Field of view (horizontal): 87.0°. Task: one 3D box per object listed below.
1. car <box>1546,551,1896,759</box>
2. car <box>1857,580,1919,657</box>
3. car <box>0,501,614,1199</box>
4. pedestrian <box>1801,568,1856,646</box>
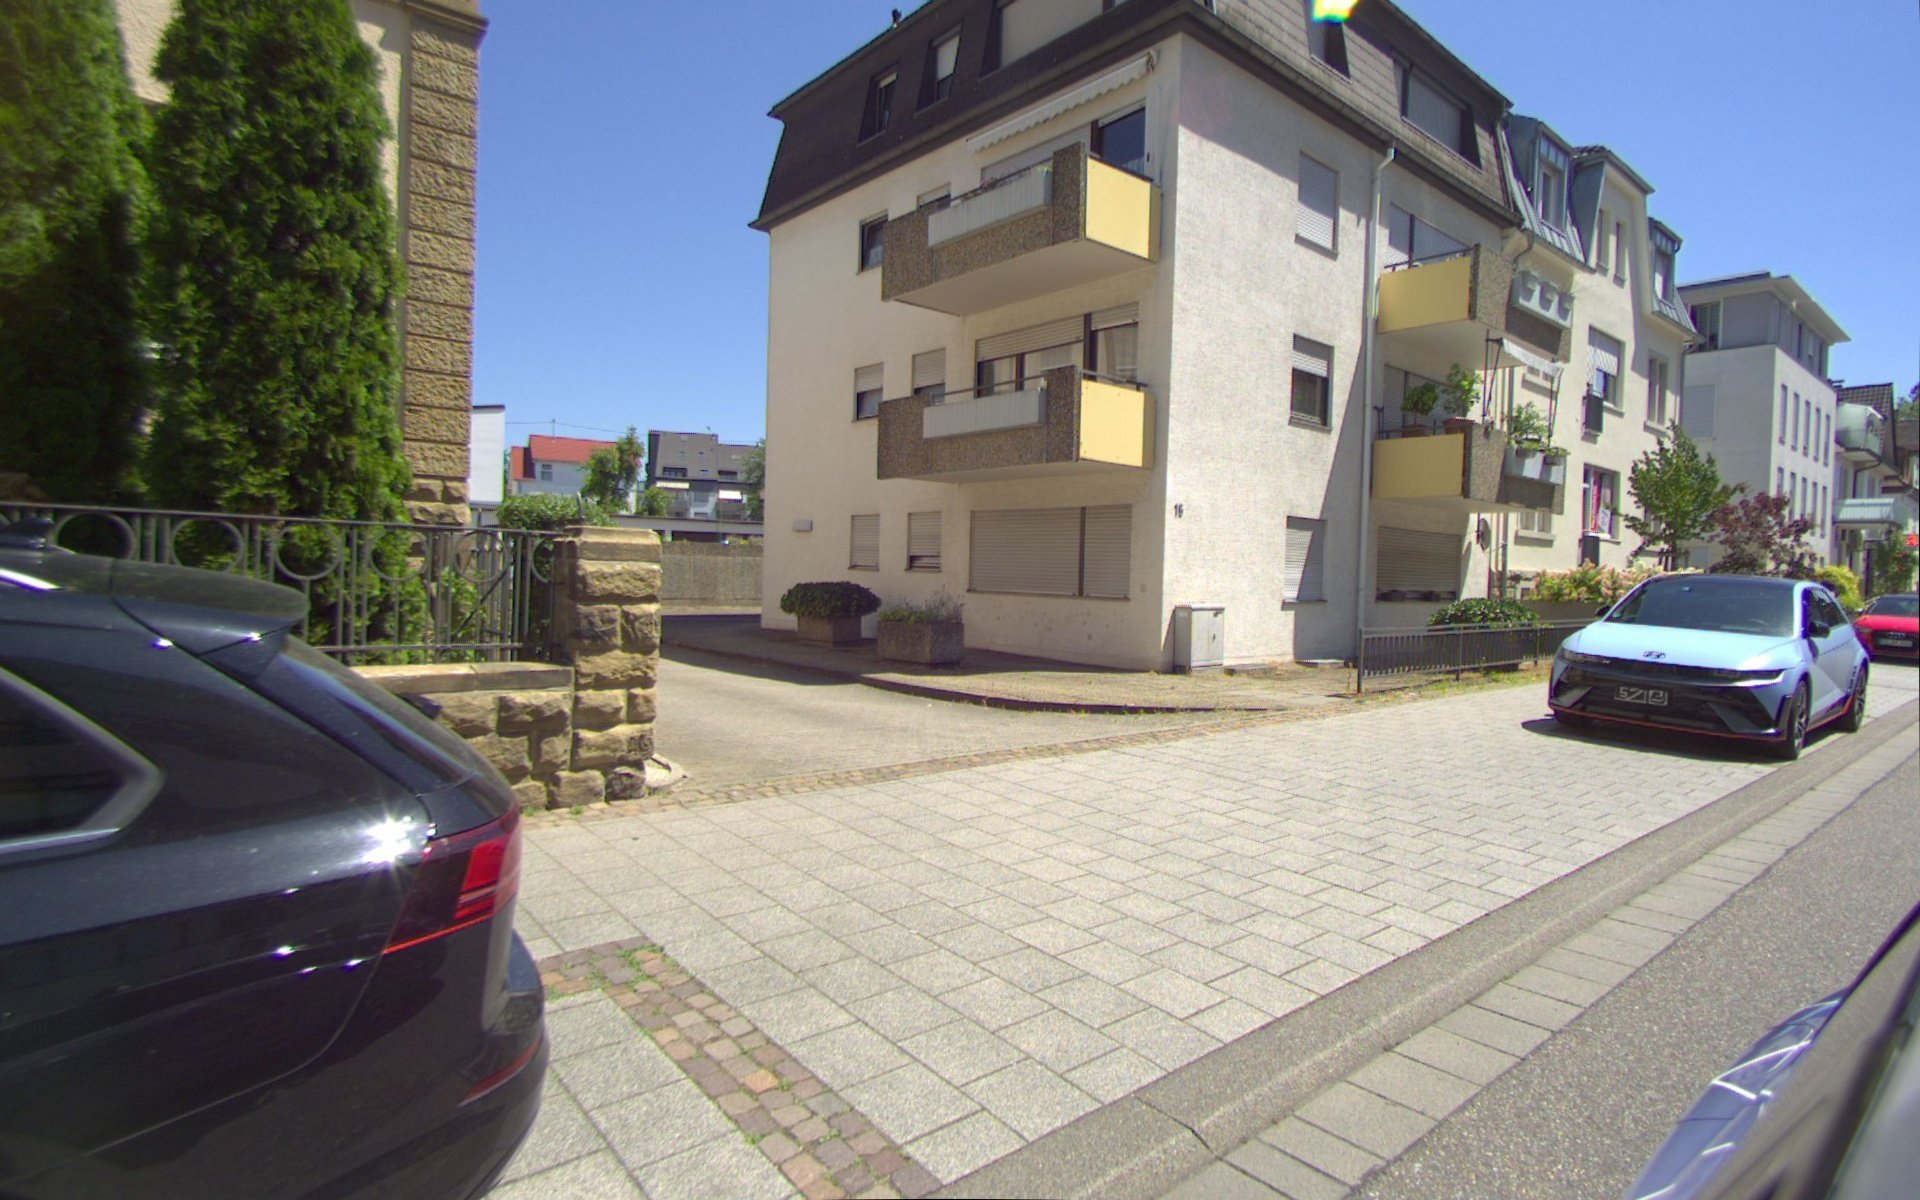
[{"bbox_3d":[7.893,0.407,10.347,4.348,1.639,1.848,0,4,-40],"label":"car"},{"bbox_3d":[20.563,0.385,21.473,3.784,1.458,1.608,0,5,-39],"label":"car"},{"bbox_3d":[-2.795,0.563,1.013,4.320,1.463,1.636,0,5,-41],"label":"car"},{"bbox_3d":[19.741,0.152,23.009,0.694,1.689,0.742,0,4,-41],"label":"pedestrian"}]
